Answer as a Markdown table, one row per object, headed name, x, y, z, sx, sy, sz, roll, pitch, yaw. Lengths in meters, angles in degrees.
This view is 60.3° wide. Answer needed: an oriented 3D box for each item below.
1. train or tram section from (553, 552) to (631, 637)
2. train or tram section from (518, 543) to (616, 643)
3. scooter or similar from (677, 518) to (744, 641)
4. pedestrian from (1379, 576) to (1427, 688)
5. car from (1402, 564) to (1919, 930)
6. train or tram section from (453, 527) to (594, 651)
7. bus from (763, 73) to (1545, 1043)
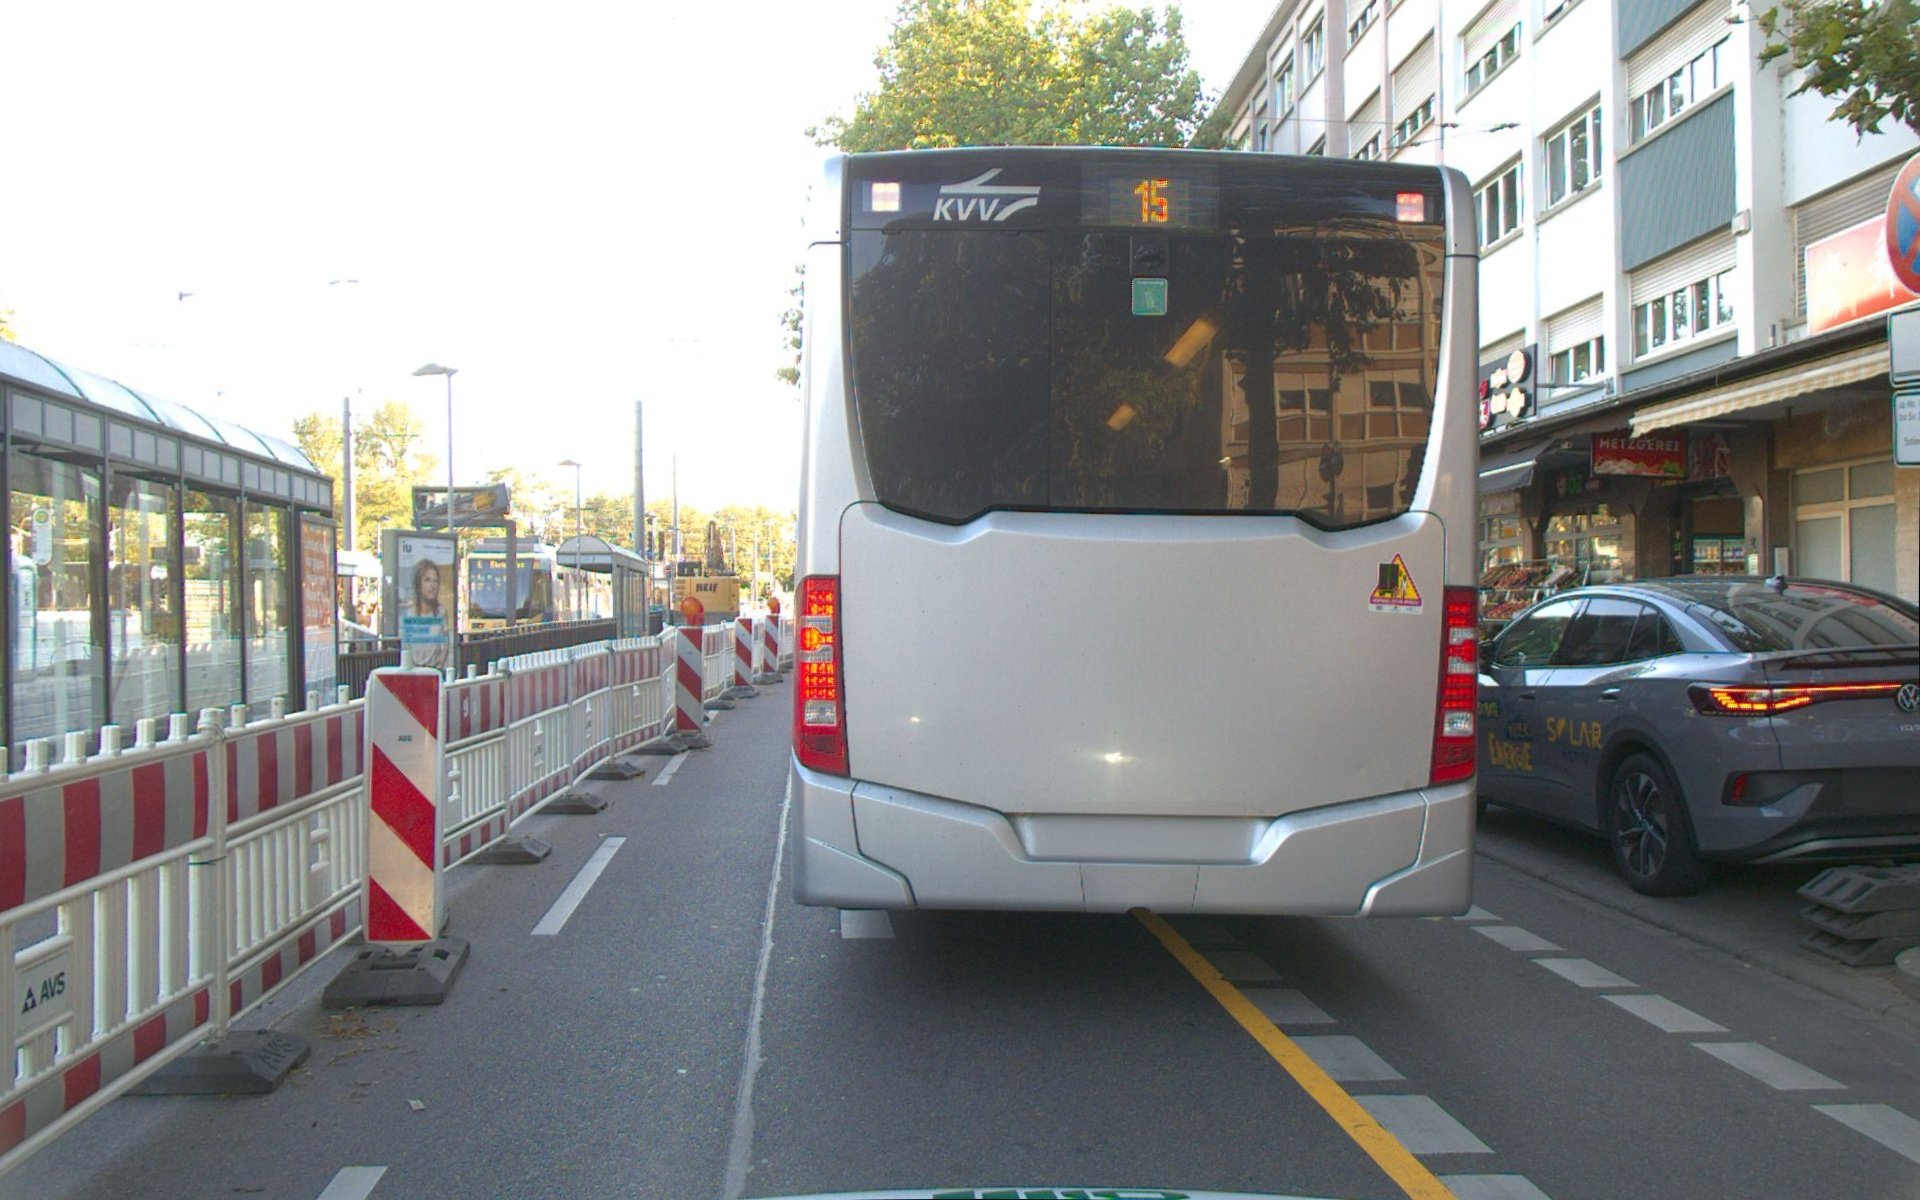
| name | x | y | z | sx | sy | sz | roll | pitch | yaw |
| --- | --- | --- | --- | --- | --- | --- | --- | --- | --- |
| train or tram section | -17.063 | -0.220 | 77.306 | 2.636 | 3.594 | 11.560 | 1 | 0 | -8 |
| train or tram section | -15.459 | -0.233 | 65.840 | 2.636 | 3.621 | 11.560 | 1 | 0 | -8 |
| scooter or similar | -9.653 | -0.759 | 64.293 | 2.422 | 4.549 | 5.962 | 0 | 0 | -8 |
| pedestrian | 6.885 | 0.487 | 25.691 | 0.649 | 1.696 | 0.601 | -2 | -1 | 15 |
| car | 4.378 | 0.643 | 9.815 | 1.955 | 1.609 | 4.363 | -3 | 1 | -5 |
| train or tram section | -14.055 | -0.295 | 54.251 | 2.635 | 3.595 | 11.756 | 1 | 0 | -6 |
| bus | 0.604 | -0.124 | 9.513 | 2.558 | 3.181 | 7.991 | 1 | 0 | -1 |
